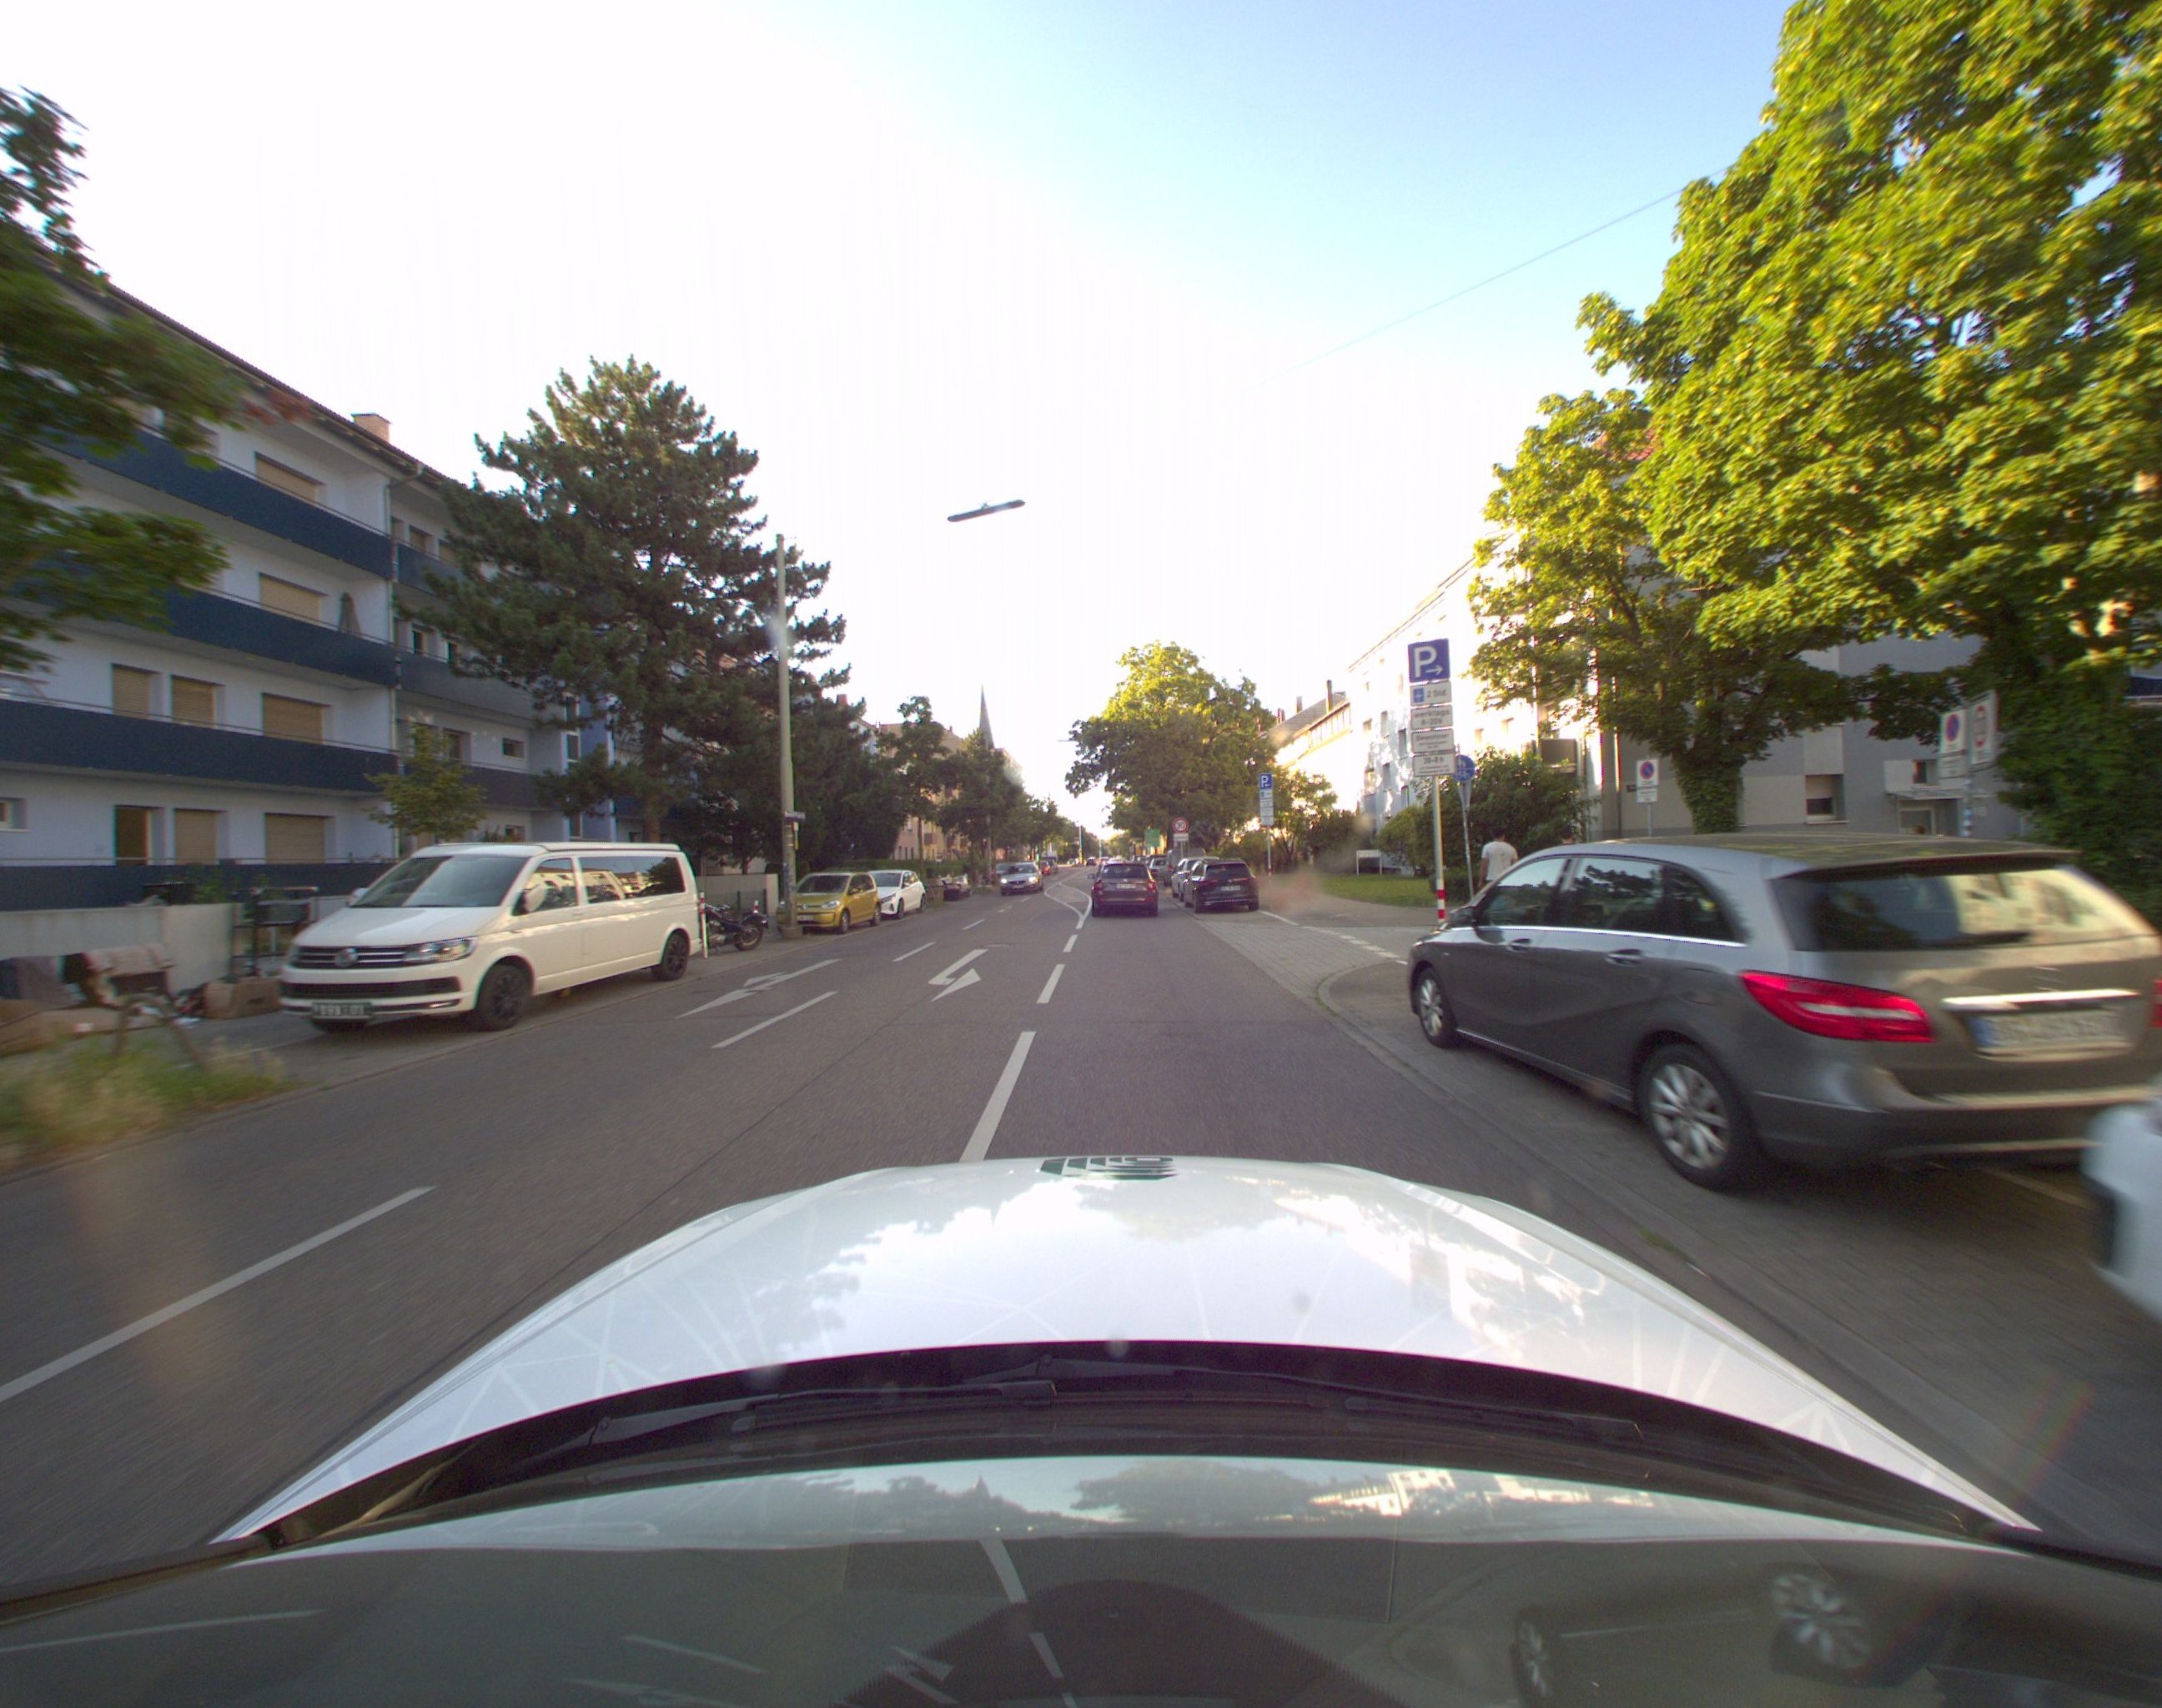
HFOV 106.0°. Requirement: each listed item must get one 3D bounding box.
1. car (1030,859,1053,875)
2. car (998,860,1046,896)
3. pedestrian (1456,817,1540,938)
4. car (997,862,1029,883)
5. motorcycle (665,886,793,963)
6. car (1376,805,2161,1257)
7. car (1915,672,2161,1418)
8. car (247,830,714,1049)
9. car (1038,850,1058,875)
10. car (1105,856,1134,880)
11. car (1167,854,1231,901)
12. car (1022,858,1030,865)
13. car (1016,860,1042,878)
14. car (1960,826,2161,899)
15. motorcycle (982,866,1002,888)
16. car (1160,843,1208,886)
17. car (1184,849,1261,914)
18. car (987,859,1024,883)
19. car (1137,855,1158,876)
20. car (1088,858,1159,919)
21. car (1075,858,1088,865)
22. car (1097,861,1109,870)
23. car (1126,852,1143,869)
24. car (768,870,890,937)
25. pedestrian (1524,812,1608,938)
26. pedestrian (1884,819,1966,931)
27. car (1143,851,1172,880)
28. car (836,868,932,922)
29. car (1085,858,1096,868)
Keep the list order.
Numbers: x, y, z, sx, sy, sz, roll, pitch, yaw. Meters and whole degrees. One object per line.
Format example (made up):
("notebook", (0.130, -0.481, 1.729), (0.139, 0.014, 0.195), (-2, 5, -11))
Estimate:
("car", (-3.969, 1.310, 82.457), (1.773, 1.480, 3.975), (-1, 0, 4))
("car", (-2.757, 1.115, 39.147), (1.733, 1.479, 4.311), (-5, 0, 2))
("pedestrian", (6.761, 0.368, 13.246), (0.746, 1.861, 1.068), (-3, -1, 1))
("car", (-4.956, 1.341, 59.855), (1.773, 1.480, 3.975), (-1, 0, 4))
("motorcycle", (-6.539, 1.278, 15.284), (0.653, 1.204, 2.345), (-3, 0, 23))
("car", (3.534, 0.638, 5.102), (1.749, 1.557, 4.251), (-3, 0, 0))
("car", (3.509, 0.451, 0.343), (1.794, 1.808, 4.423), (-1, 0, 0))
("car", (-6.877, 0.814, 10.349), (1.862, 2.031, 5.302), (-1, 0, 1))
("car", (-3.842, 0.958, 95.033), (1.984, 2.781, 5.505), (-1, 0, 1))
("car", (2.654, 0.988, 56.924), (1.885, 1.506, 3.791), (2, -1, 2))
("car", (4.159, 0.795, 29.160), (1.748, 1.557, 4.105), (-1, 0, 1))
("car", (-15.101, 2.121, 222.791), (1.991, 1.750, 3.992), (-2, 0, -5))
("car", (-4.541, 1.284, 71.992), (1.773, 1.480, 3.975), (-1, 0, 4))
("car", (21.679, 0.169, 17.294), (4.143, 1.461, 1.731), (0, 0, 1))
("motorcycle", (-5.224, 1.332, 47.812), (0.736, 1.204, 2.144), (-1, 0, 5))
("car", (4.915, 0.487, 39.511), (1.908, 1.860, 5.638), (-2, 0, 4))
("car", (3.958, 0.714, 23.421), (1.746, 1.686, 4.256), (-1, 0, 4))
("car", (-4.946, 1.100, 53.772), (1.773, 1.480, 4.037), (-1, 0, 4))
("car", (5.795, 0.985, 71.326), (1.746, 1.806, 4.004), (-1, 0, 4))
("car", (1.196, 0.861, 22.255), (1.746, 1.492, 4.004), (-1, 0, 4))
("car", (0.121, 1.828, 195.681), (1.652, 1.599, 3.572), (-2, 0, -23))
("car", (3.494, 1.846, 132.583), (1.776, 1.480, 3.969), (-1, 0, -1))
("car", (5.818, 0.667, 88.149), (1.747, 1.806, 4.003), (-1, 0, 2))
("car", (-6.268, 1.176, 20.707), (1.611, 1.480, 3.876), (-1, 0, 4))
("pedestrian", (7.486, 0.318, 12.619), (0.793, 1.861, 0.954), (-3, -1, 13))
("pedestrian", (13.568, 0.333, 13.095), (0.748, 1.721, 0.792), (-2, -1, -39))
("car", (4.847, 0.718, 51.962), (1.746, 1.715, 4.004), (-1, 0, 4))
("car", (-6.116, 1.231, 25.713), (1.773, 1.494, 3.975), (-1, 0, 4))
("car", (1.841, 1.789, 159.524), (1.989, 1.750, 3.995), (-2, 0, -3))
